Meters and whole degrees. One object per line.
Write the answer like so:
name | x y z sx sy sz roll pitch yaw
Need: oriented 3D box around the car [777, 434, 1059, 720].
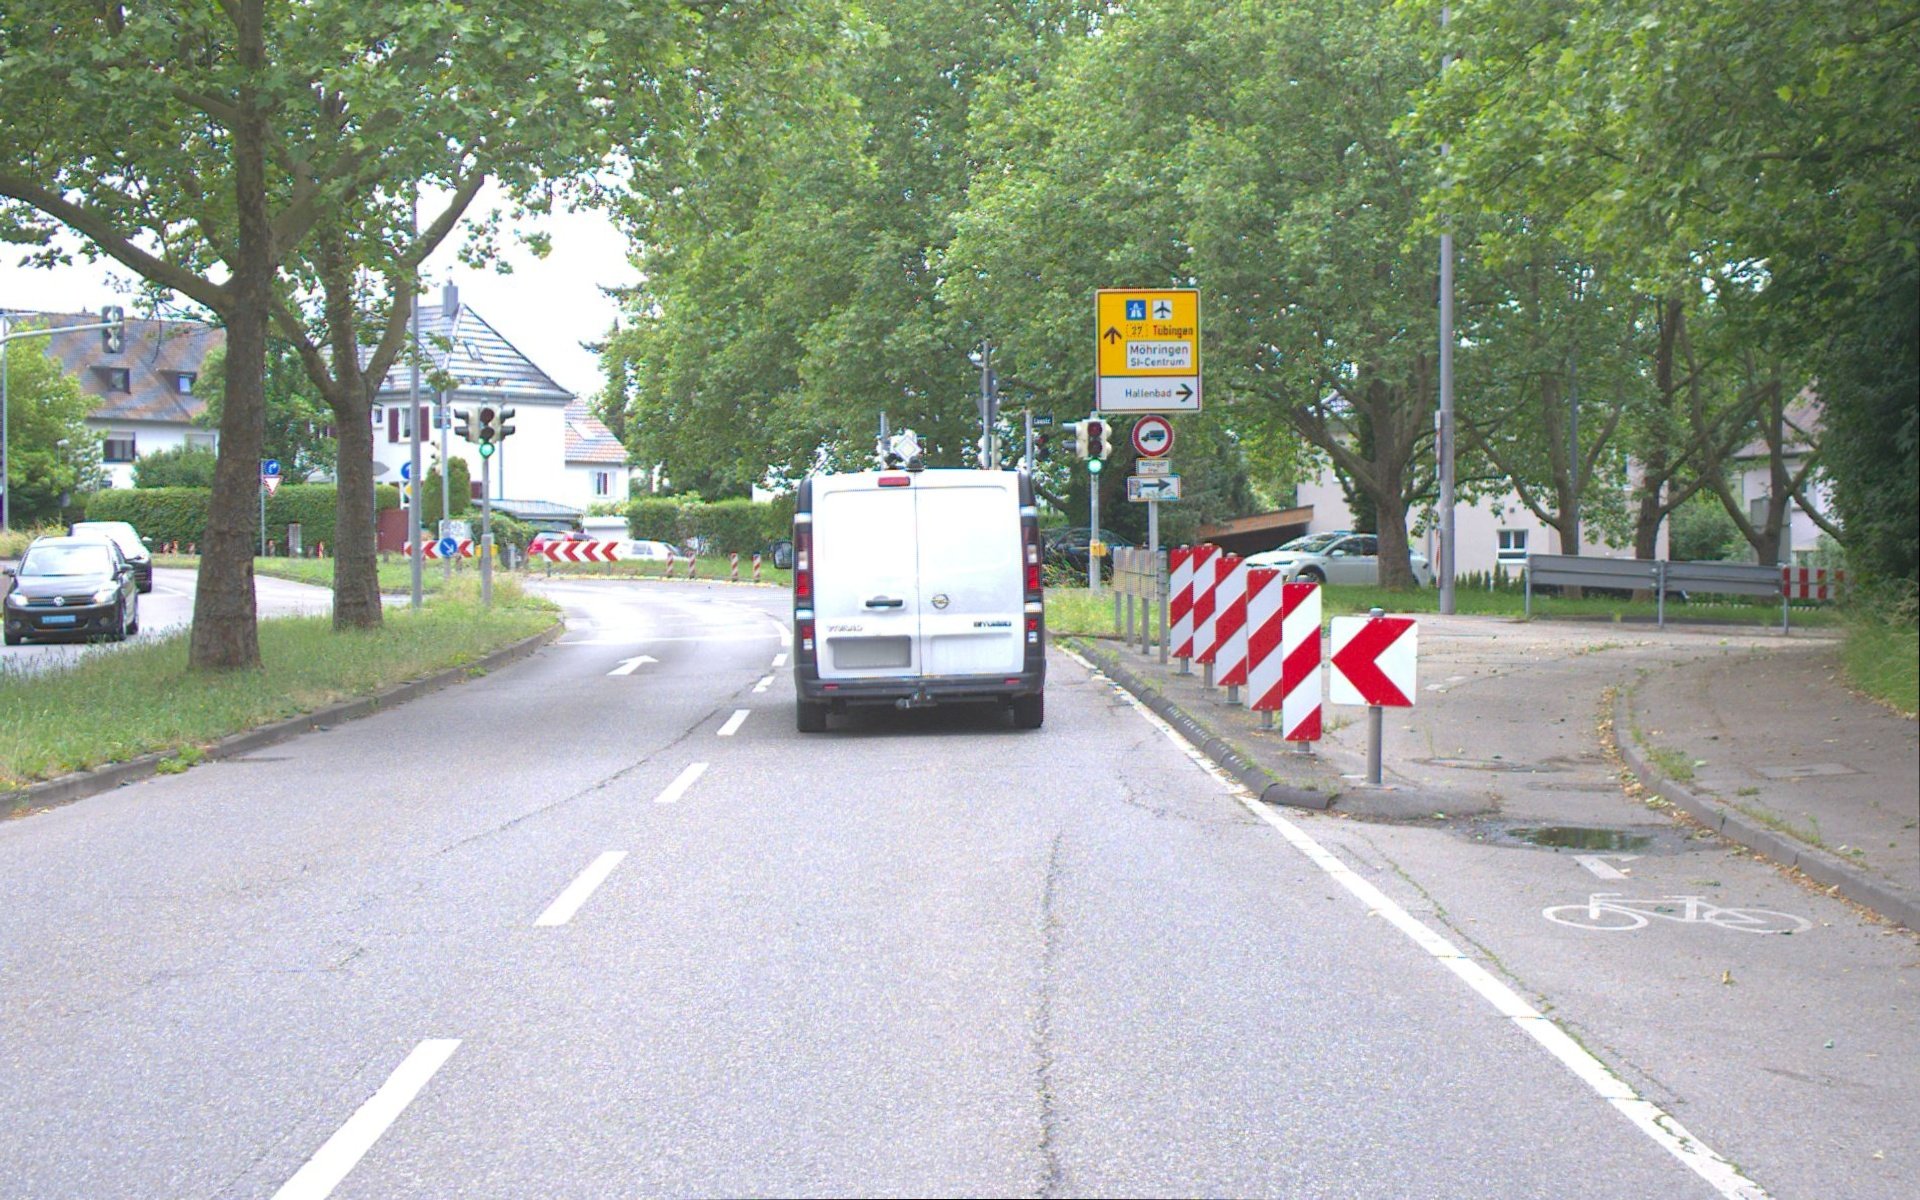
car | -0.429 -0.163 27.164 2.006 2.031 5.010 -1 0 -3

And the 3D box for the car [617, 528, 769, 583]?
car | -8.743 -1.470 112.489 4.738 1.763 1.996 1 1 33

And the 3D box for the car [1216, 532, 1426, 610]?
car | 8.462 -0.690 80.431 4.730 1.763 2.000 0 1 -36

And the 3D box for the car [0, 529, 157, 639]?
car | -13.476 -0.243 52.330 1.997 1.582 3.998 -1 0 -7

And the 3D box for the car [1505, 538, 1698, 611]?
car | 16.027 -0.649 85.804 4.730 1.763 2.000 0 1 -36
